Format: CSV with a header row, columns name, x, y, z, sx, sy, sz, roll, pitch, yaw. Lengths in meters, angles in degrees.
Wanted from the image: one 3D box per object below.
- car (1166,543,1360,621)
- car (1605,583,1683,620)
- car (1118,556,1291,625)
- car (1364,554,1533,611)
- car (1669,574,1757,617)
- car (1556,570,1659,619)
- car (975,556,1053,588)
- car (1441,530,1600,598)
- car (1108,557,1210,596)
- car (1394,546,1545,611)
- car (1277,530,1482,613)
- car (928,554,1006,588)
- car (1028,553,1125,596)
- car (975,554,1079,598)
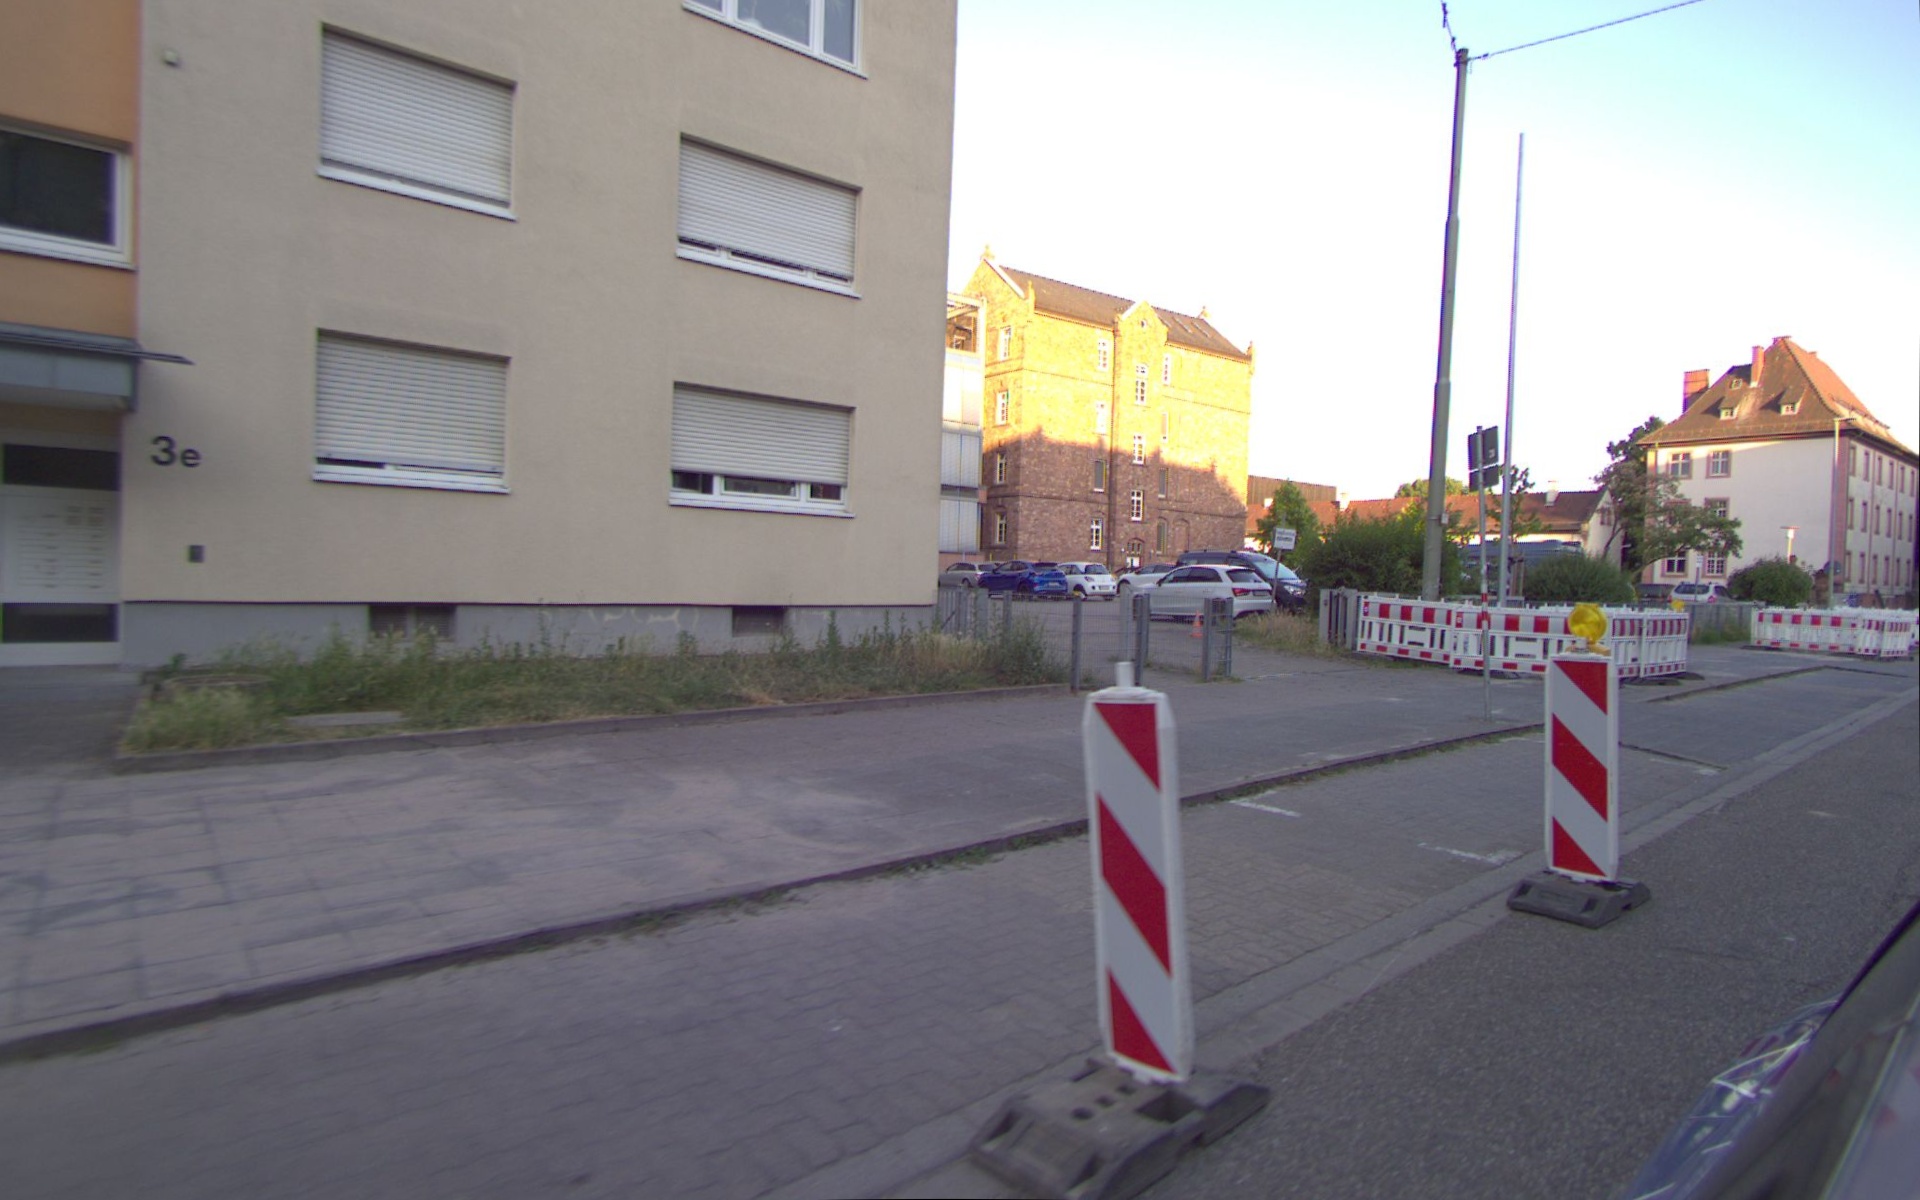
name,x,y,z,sx,sy,sz,roll,pitch,yaw
car,7.786,-0.516,26.367,1.969,1.832,4.491,0,2,-38
car,31.889,0.065,47.150,3.930,1.620,2.015,0,2,-41
car,5.859,-0.277,24.597,1.664,1.470,3.841,0,3,-38
car,15.408,-0.592,32.127,1.963,1.669,4.438,0,2,-36
car,31.565,-0.194,42.364,4.723,1.650,1.919,0,2,-40
car,23.490,-0.185,36.688,4.057,1.669,1.702,0,1,-35
car,2.769,-1.466,52.445,1.793,1.536,4.148,0,2,-36
car,19.478,-1.249,35.339,1.963,2.224,4.437,1,2,-36
car,8.360,-1.014,42.787,1.962,1.536,3.932,1,2,-35
car,16.976,-0.750,33.875,1.962,2.038,4.001,1,2,-36
car,11.895,-0.829,29.075,2.245,2.156,5.041,1,2,-33
car,0.295,-1.487,50.965,1.793,1.536,4.148,0,2,-36
car,4.483,-1.010,39.428,1.791,1.536,3.736,1,2,-31
car,2.477,-0.931,38.285,1.946,1.536,3.947,1,2,-32
